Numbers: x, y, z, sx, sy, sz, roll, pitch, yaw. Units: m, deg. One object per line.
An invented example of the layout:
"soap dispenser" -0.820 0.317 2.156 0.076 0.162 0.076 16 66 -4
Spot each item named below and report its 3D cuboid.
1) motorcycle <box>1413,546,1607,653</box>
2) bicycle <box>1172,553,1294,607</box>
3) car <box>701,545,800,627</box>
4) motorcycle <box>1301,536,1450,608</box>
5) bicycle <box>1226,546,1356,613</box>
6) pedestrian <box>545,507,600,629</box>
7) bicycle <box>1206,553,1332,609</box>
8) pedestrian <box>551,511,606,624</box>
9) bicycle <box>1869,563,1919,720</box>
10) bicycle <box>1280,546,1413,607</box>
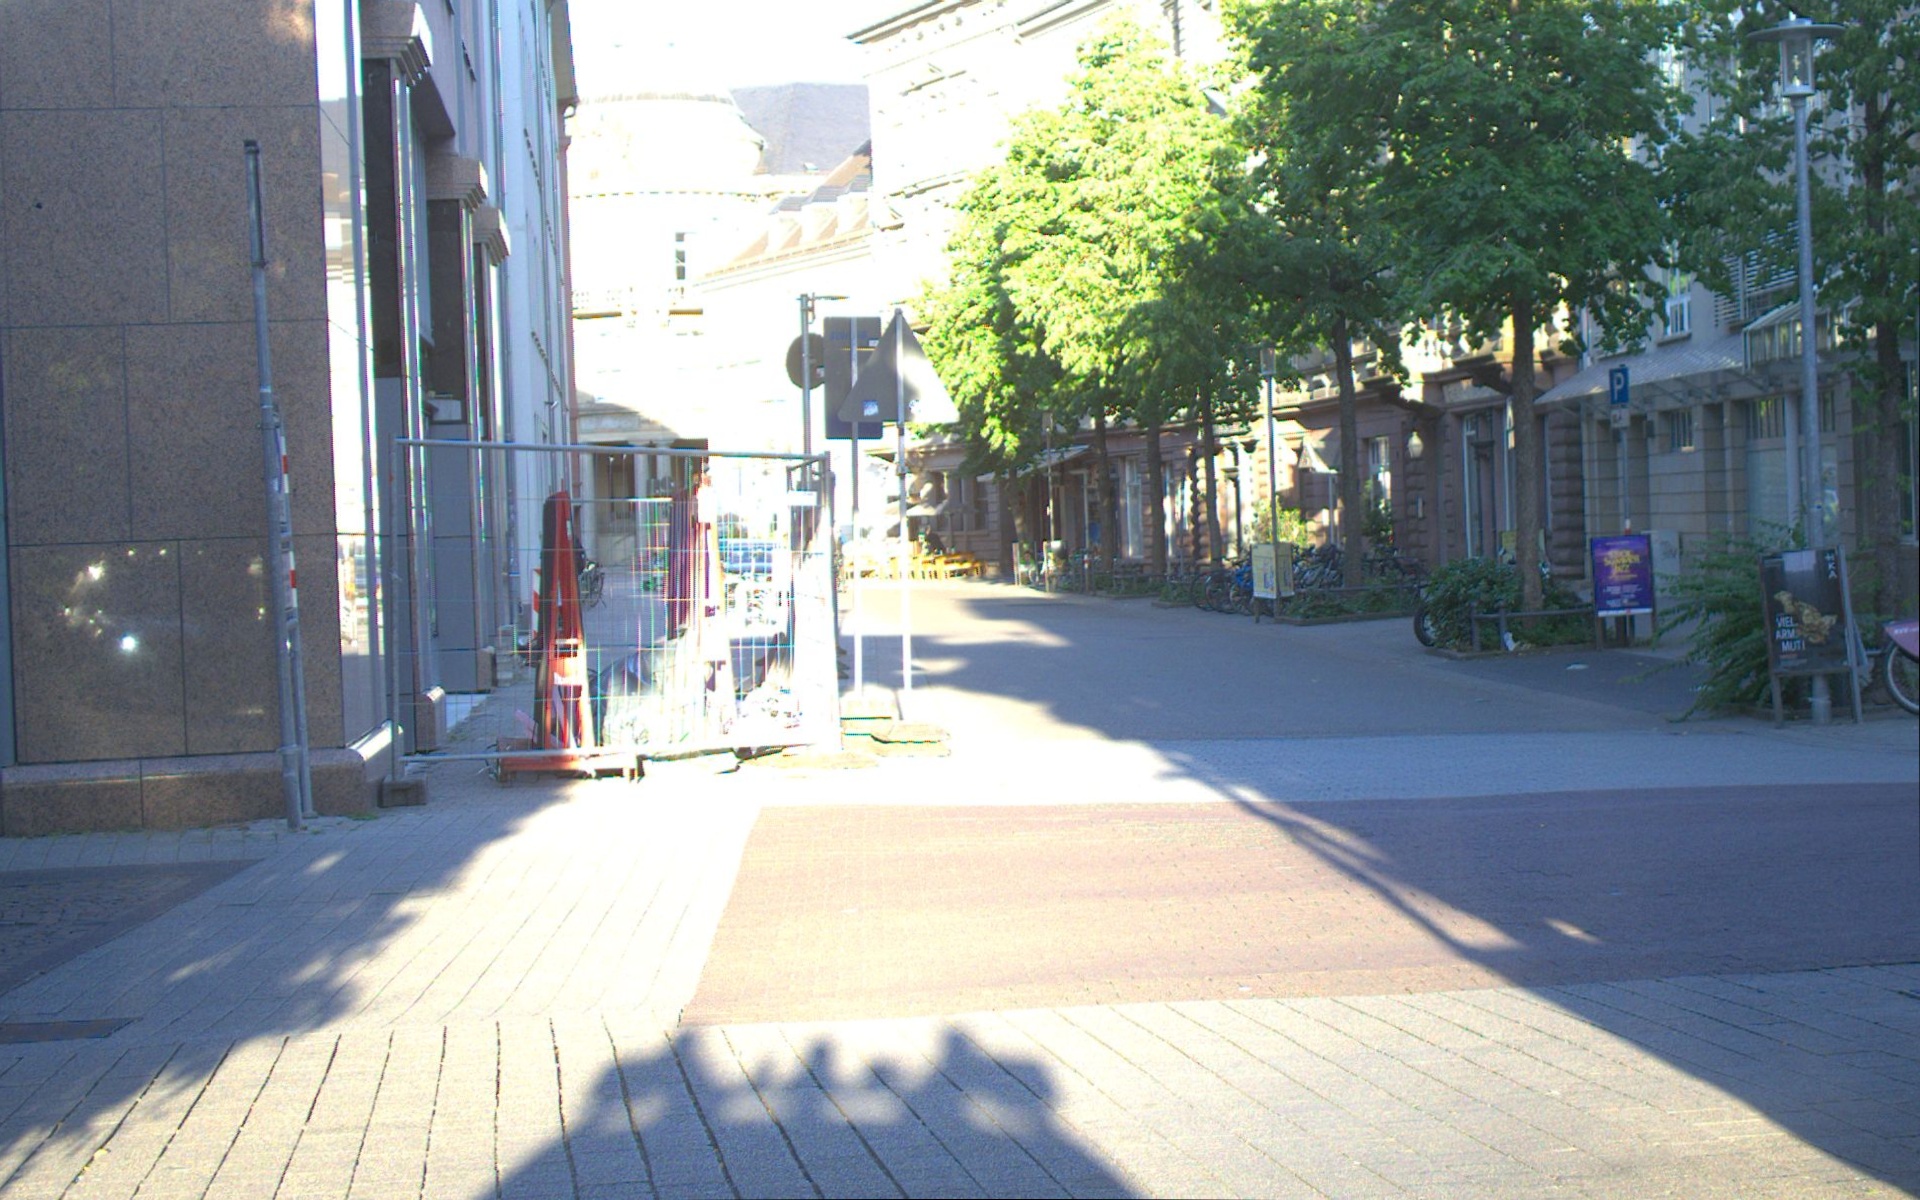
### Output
"motorcycle" 6.468 -0.007 40.440 2.152 1.147 0.494 -3 0 -5
"bicycle" 5.090 -0.370 64.165 2.152 0.922 0.591 -3 0 -10
"car" -4.644 -0.327 75.861 1.841 1.678 3.646 -3 1 -8
"motorcycle" 6.907 -0.469 57.135 2.471 1.091 0.591 -3 0 -25
"bicycle" 5.765 -0.358 59.892 2.154 1.057 0.590 -2 0 12
"pedestrian" -5.698 -0.469 50.574 0.654 1.758 0.634 -2 1 2
"bicycle" 5.589 -0.343 62.192 2.152 0.922 0.591 -3 0 -10
"pedestrian" -5.681 -0.493 51.191 0.654 1.646 0.634 -2 1 2
"bicycle" 7.294 0.236 24.178 1.657 1.047 0.662 -5 2 16
"bicycle" 6.534 -0.400 58.119 2.152 0.922 0.591 -3 0 -18
